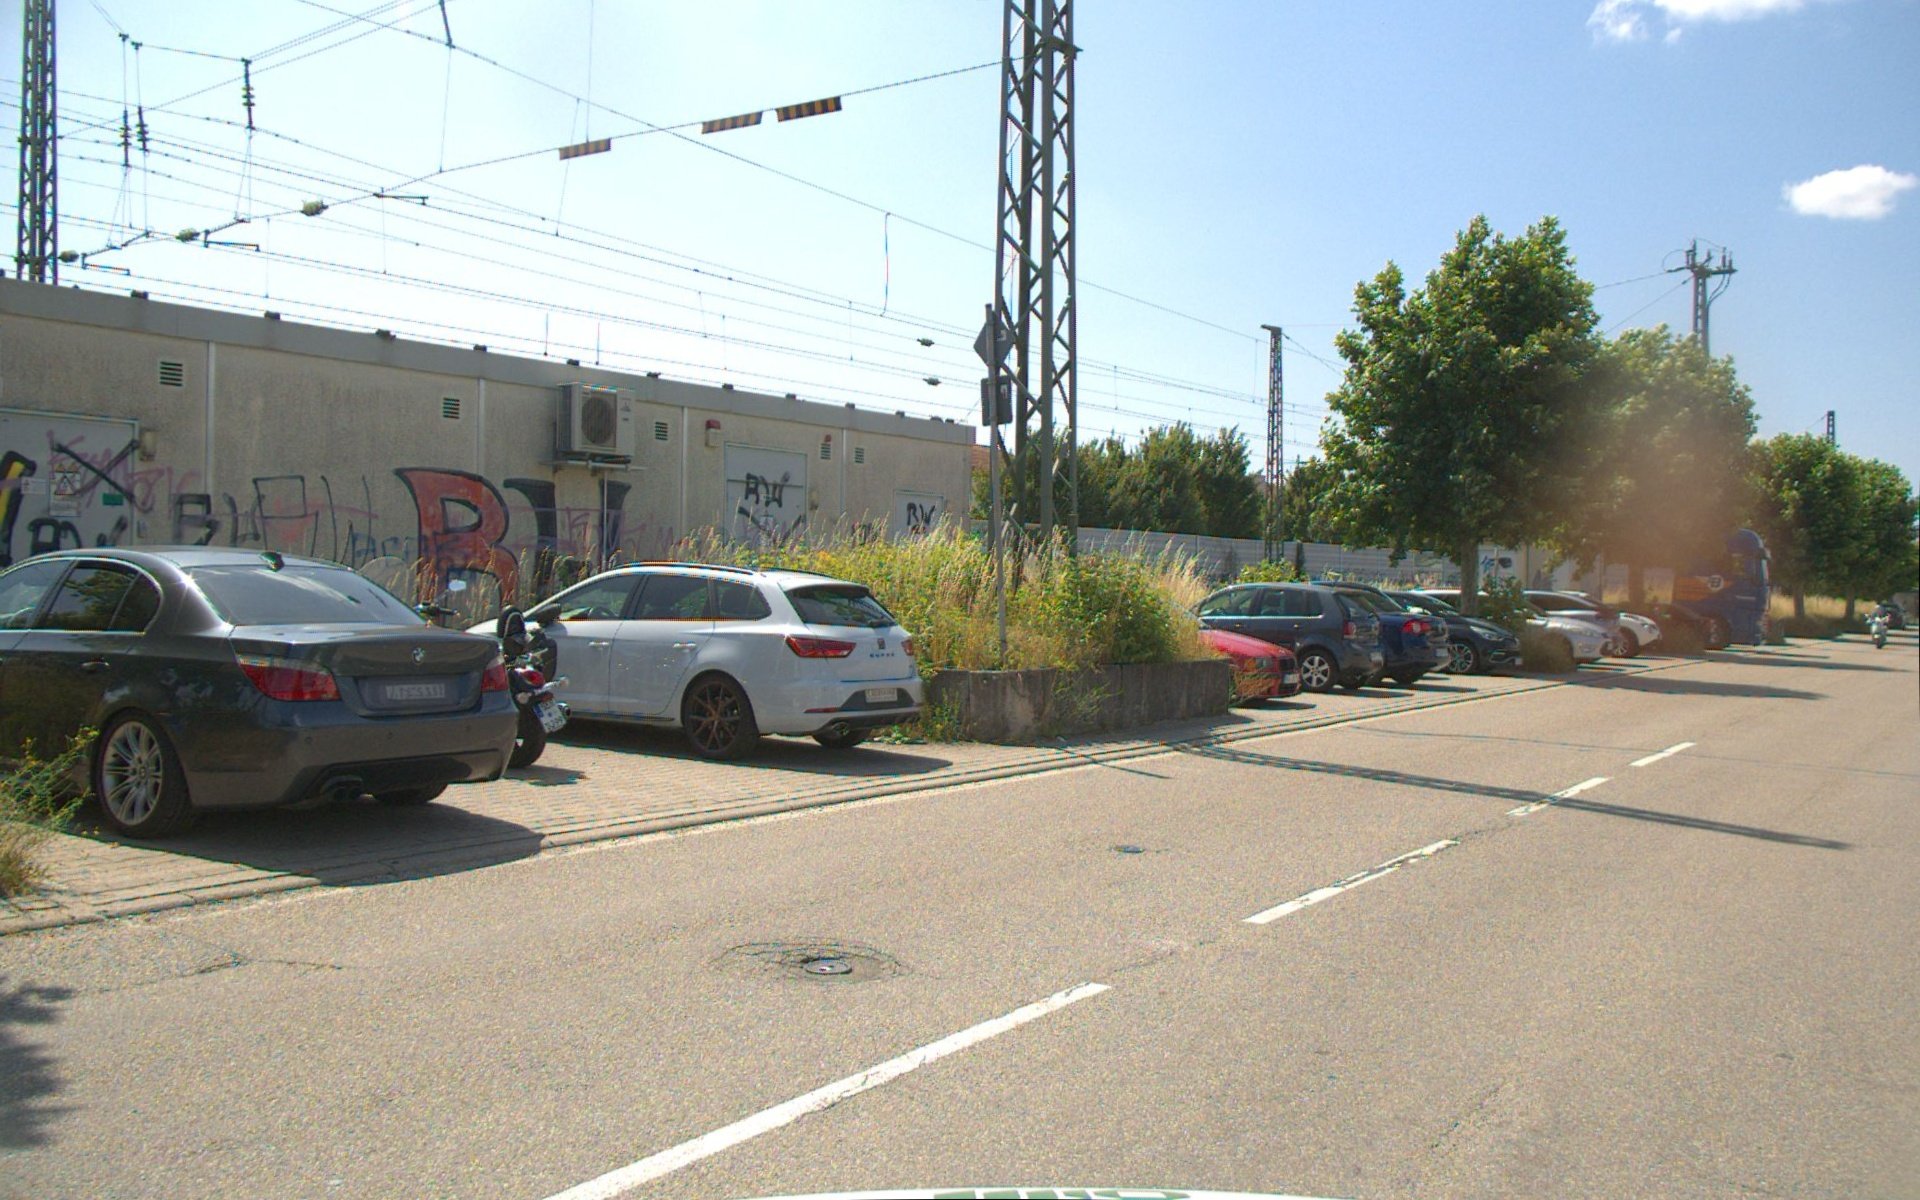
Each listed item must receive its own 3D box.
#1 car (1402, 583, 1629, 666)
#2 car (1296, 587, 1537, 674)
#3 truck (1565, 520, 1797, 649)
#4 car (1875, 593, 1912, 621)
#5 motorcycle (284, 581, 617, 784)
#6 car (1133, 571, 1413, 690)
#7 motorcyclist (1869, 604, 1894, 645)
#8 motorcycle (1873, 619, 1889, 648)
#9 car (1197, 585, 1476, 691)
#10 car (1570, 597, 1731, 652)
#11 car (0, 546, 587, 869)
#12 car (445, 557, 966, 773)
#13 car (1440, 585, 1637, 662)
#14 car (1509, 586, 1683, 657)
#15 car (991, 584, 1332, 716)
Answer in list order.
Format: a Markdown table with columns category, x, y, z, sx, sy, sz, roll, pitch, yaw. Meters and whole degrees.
| category | x | y | z | sx | sy | sz | roll | pitch | yaw |
| --- | --- | --- | --- | --- | --- | --- | --- | --- | --- |
| car | 11.922 | 0.483 | 35.554 | 4.262 | 1.559 | 1.921 | 2 | 2 | 33 |
| car | 8.513 | 0.532 | 30.944 | 4.002 | 1.498 | 1.781 | 1 | 0 | 34 |
| truck | 23.017 | -0.509 | 52.884 | 6.494 | 3.890 | 2.657 | 1 | 0 | 32 |
| car | 56.802 | 0.416 | 100.652 | 1.711 | 1.623 | 3.569 | 2 | 1 | 33 |
| motorcycle | -3.693 | 0.534 | 11.851 | 2.675 | 1.303 | 0.716 | 1 | 0 | 33 |
| car | 4.530 | 0.395 | 24.031 | 3.600 | 1.473 | 1.680 | 3 | 2 | 32 |
| motorcyclist | 35.357 | 0.930 | 63.443 | 0.761 | 1.535 | 0.919 | 2 | 1 | 32 |
| motorcycle | 35.249 | 1.273 | 63.290 | 0.455 | 1.069 | 1.951 | 2 | 0 | 31 |
| car | 5.865 | 0.545 | 25.942 | 3.882 | 1.475 | 1.779 | 2 | 1 | 38 |
| car | 20.421 | 0.704 | 48.932 | 4.133 | 1.419 | 1.867 | 2 | 1 | 32 |
| car | -4.352 | 0.450 | 9.185 | 4.341 | 1.435 | 1.785 | 1 | 0 | 28 |
| car | -2.131 | 0.439 | 13.549 | 3.999 | 1.426 | 1.782 | 3 | 1 | 32 |
| car | 13.238 | 0.498 | 37.879 | 3.915 | 1.574 | 1.995 | 2 | 1 | 32 |
| car | 16.195 | 0.516 | 42.146 | 3.897 | 1.646 | 1.847 | 2 | 1 | 30 |
| car | 2.527 | 0.565 | 21.094 | 4.002 | 1.392 | 1.669 | 2 | 2 | 34 |
